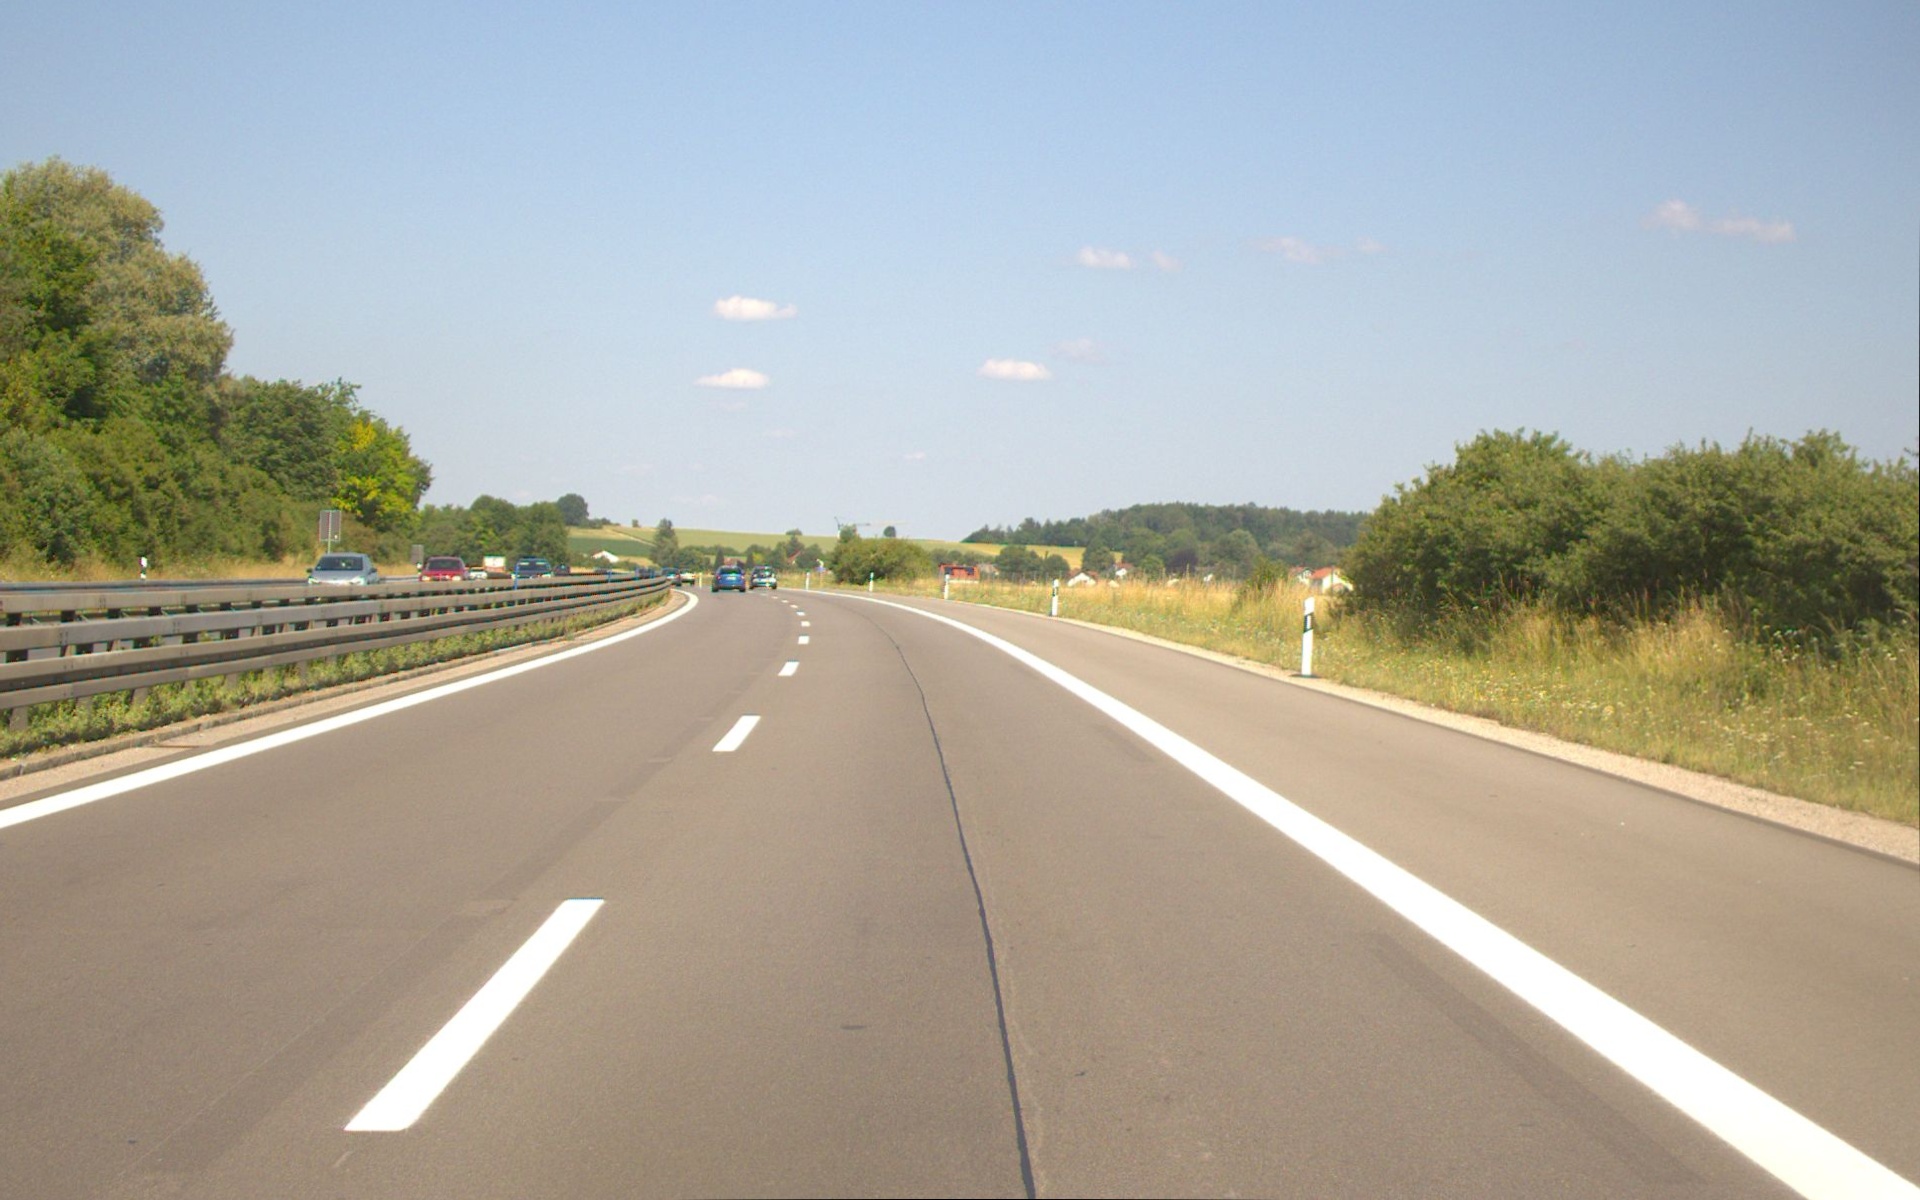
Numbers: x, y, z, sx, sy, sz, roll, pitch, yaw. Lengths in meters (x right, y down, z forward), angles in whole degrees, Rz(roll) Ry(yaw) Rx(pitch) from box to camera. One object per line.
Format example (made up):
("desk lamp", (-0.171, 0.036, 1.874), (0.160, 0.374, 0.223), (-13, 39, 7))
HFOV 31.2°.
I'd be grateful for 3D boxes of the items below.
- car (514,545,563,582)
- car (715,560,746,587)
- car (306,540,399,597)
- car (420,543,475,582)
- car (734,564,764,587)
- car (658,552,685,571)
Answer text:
("car", (-17.453, -1.502, 142.540), (1.649, 1.488, 4.540), (1, 1, -3))
("car", (-12.942, -1.489, 193.993), (1.676, 1.448, 3.592), (1, 0, -4))
("car", (-17.793, -0.939, 100.811), (1.993, 1.607, 4.637), (1, 1, -1))
("car", (-20.074, -1.473, 134.790), (1.649, 1.488, 4.540), (1, 1, -3))
("car", (-13.305, -1.543, 216.369), (1.675, 1.448, 3.593), (1, 0, -7))
("car", (-22.005, -2.915, 261.952), (1.829, 1.448, 3.592), (1, 0, -2))
